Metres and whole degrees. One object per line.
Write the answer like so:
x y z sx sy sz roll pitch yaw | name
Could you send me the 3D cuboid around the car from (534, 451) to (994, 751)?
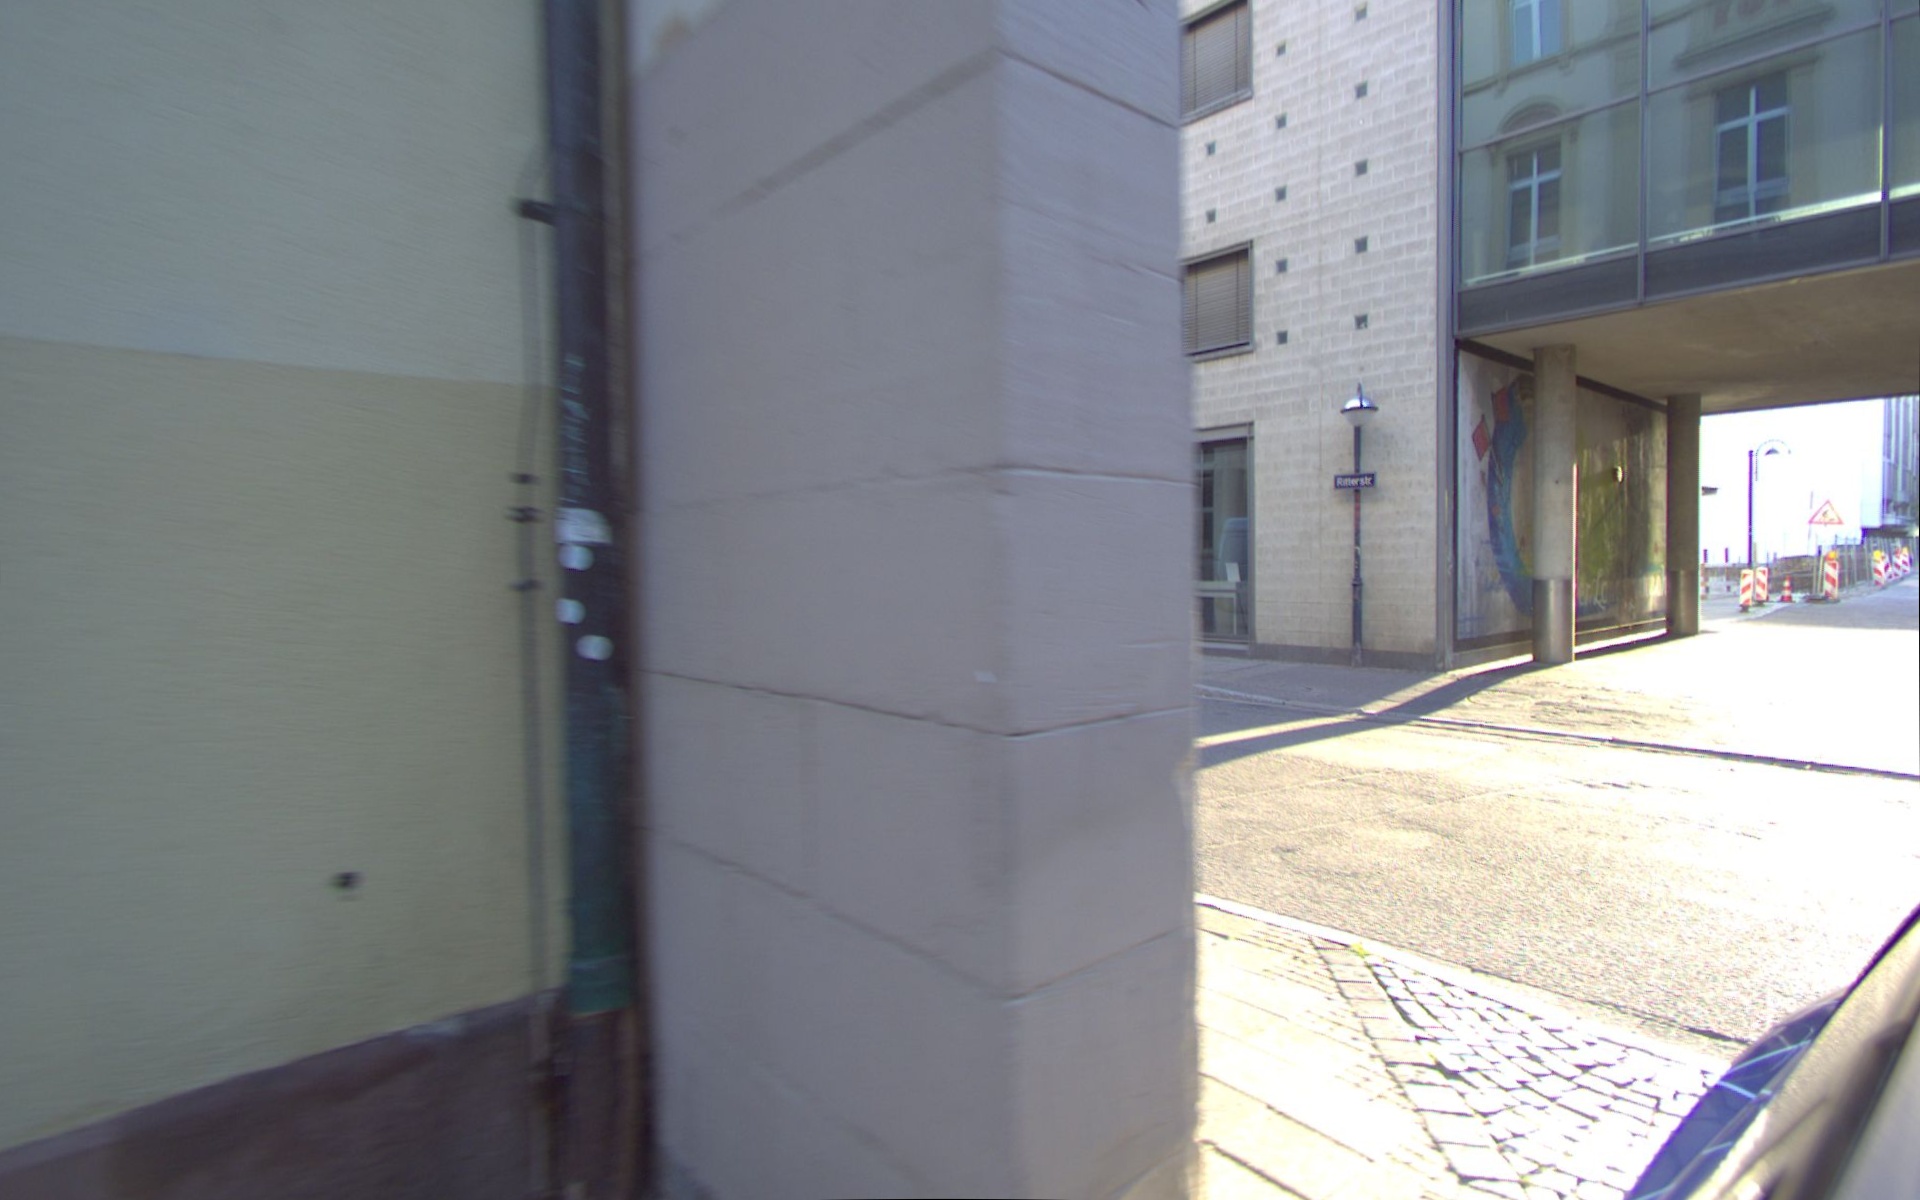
-2.612 -0.106 11.601 1.970 2.542 6.455 -4 4 -43 | car
